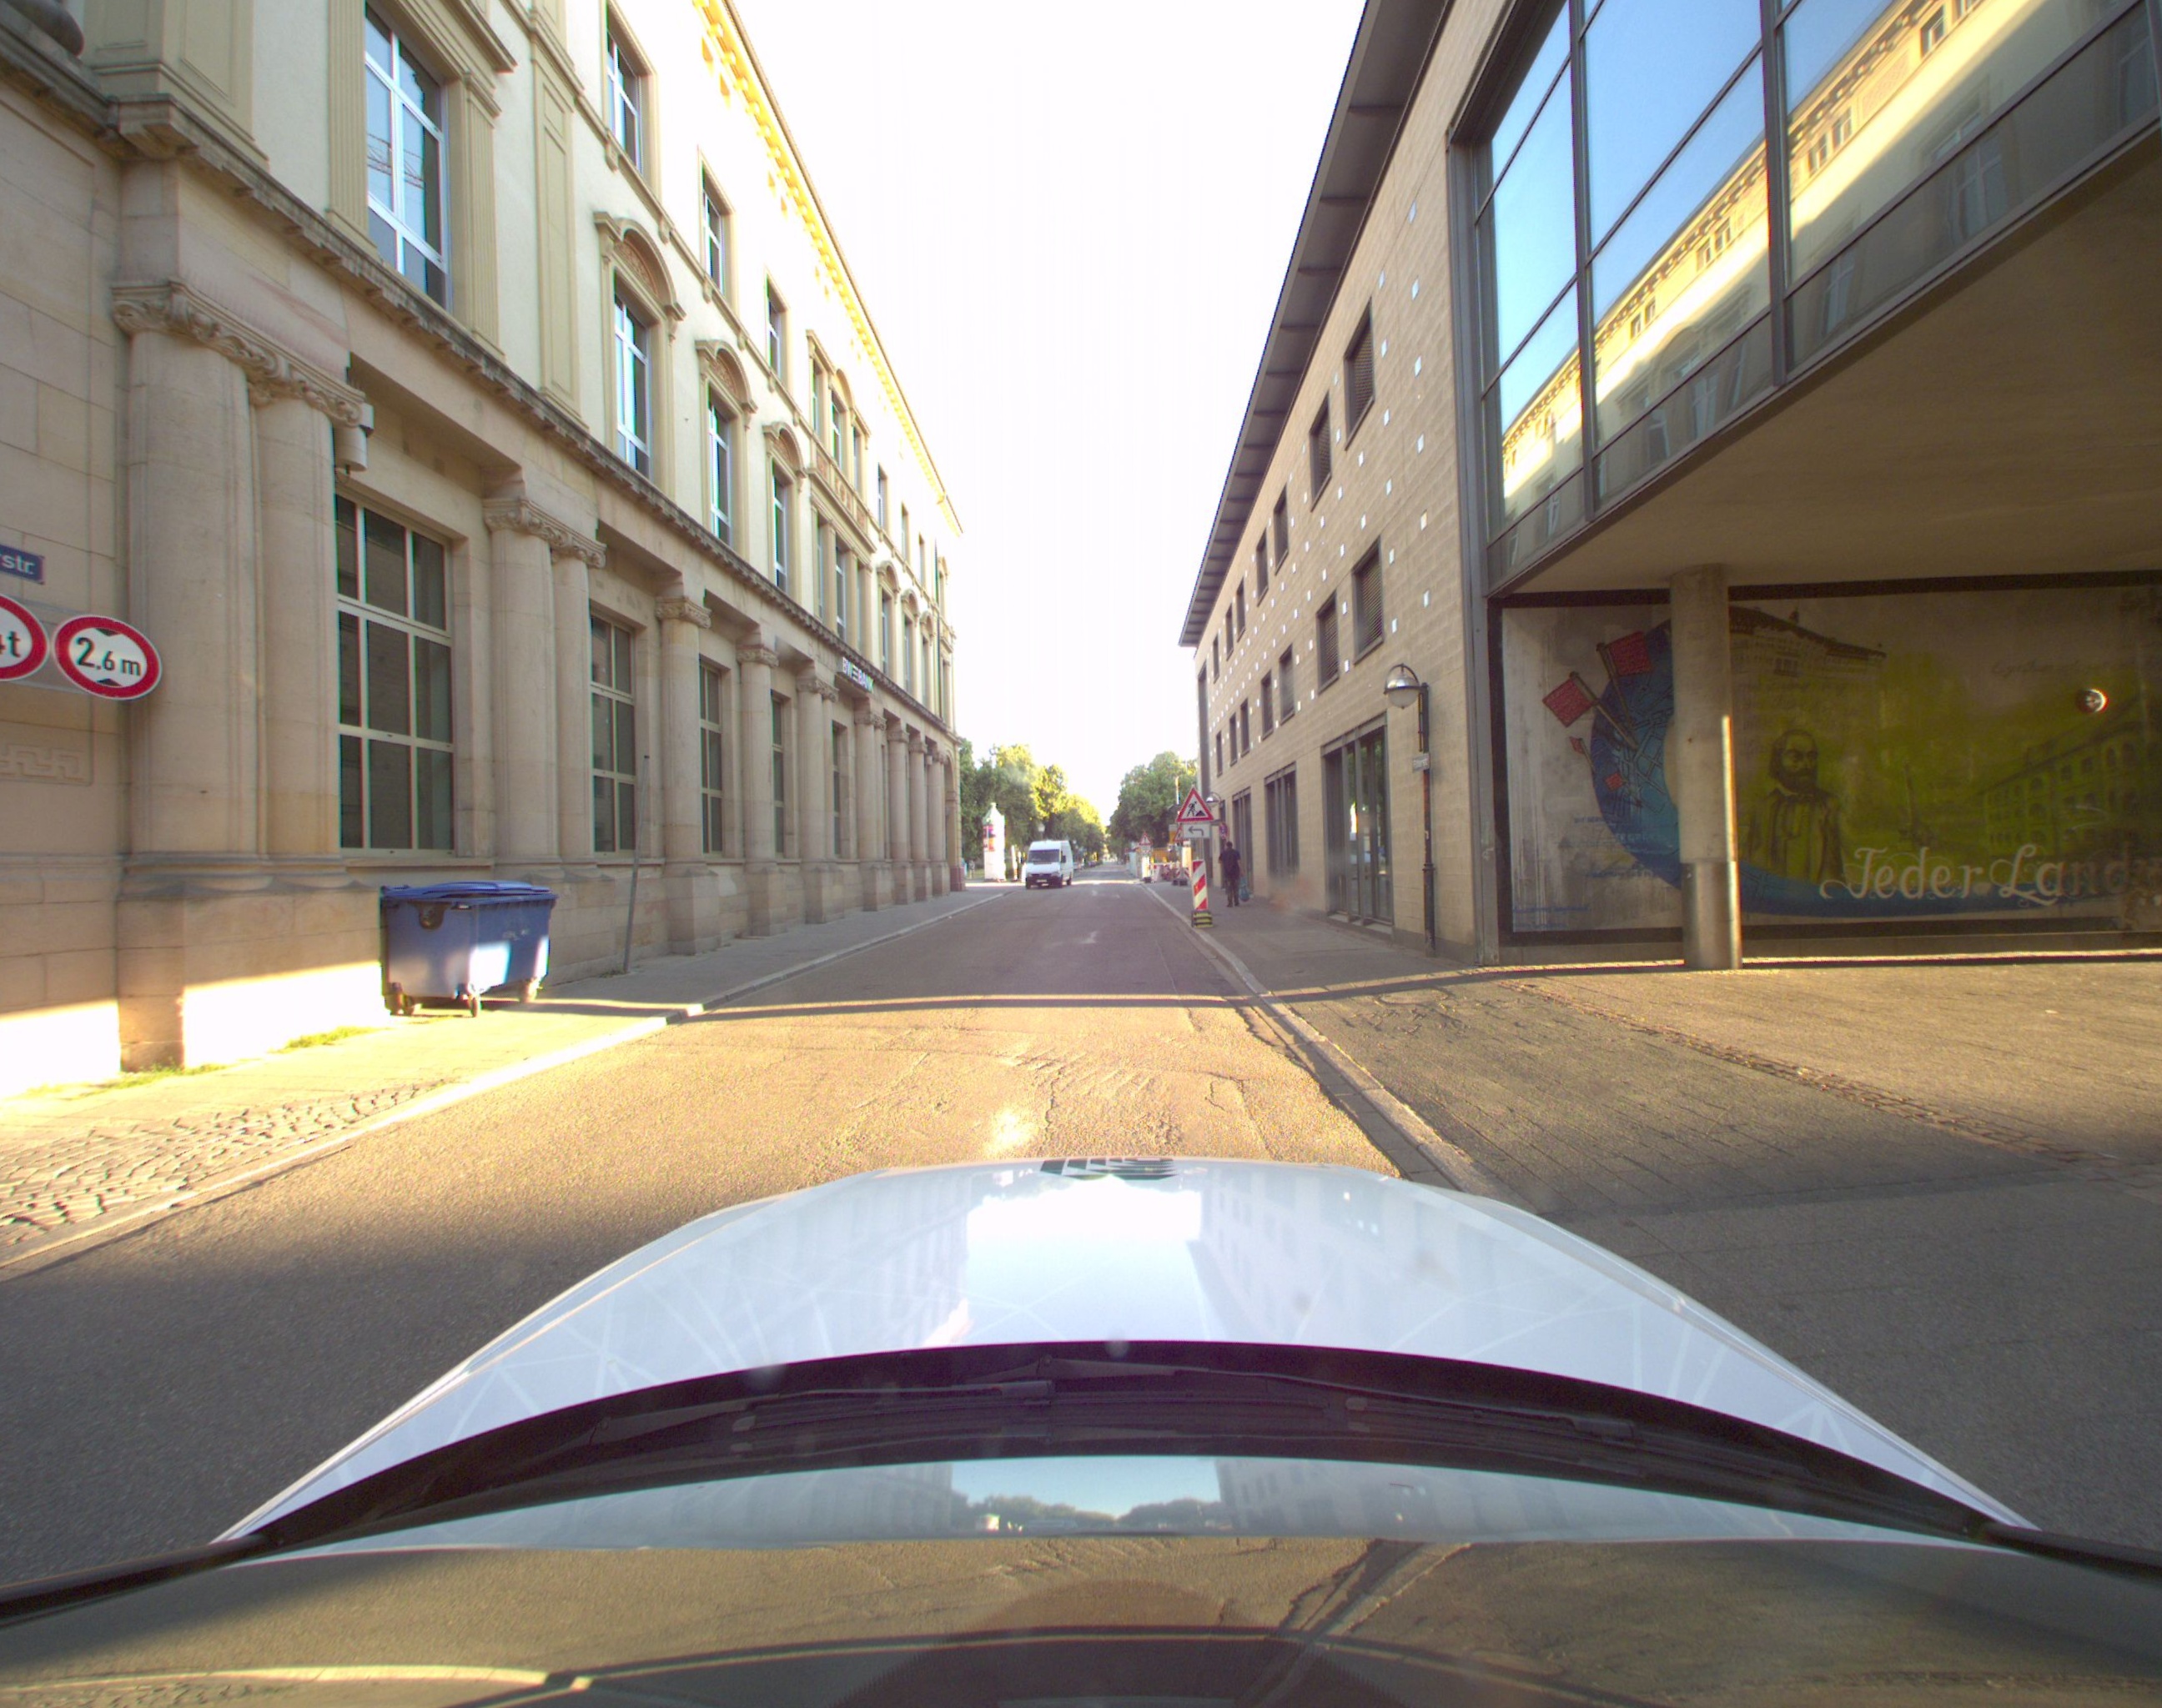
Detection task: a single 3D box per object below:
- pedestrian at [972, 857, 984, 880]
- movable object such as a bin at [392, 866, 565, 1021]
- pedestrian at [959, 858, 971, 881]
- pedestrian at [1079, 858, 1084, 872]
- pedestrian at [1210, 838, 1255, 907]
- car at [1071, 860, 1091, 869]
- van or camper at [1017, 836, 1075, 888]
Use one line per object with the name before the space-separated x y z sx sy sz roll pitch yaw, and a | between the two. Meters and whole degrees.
pedestrian | -8.198 1.153 64.776 0.850 1.807 0.661 -1 -1 -11
movable object such as a bin | -6.397 0.902 8.739 0.825 1.503 1.292 -1 0 3
pedestrian | -9.193 1.256 64.520 0.850 1.807 0.661 -1 -1 -11
pedestrian | 0.103 1.540 114.913 0.609 2.014 0.902 -1 -1 -6
pedestrian | 4.142 0.508 22.324 0.997 1.803 0.882 -3 -1 1
car | -0.007 2.072 161.204 3.539 1.783 1.795 -3 -1 11
van or camper | -1.794 0.403 44.041 2.208 2.585 6.381 -2 0 5
